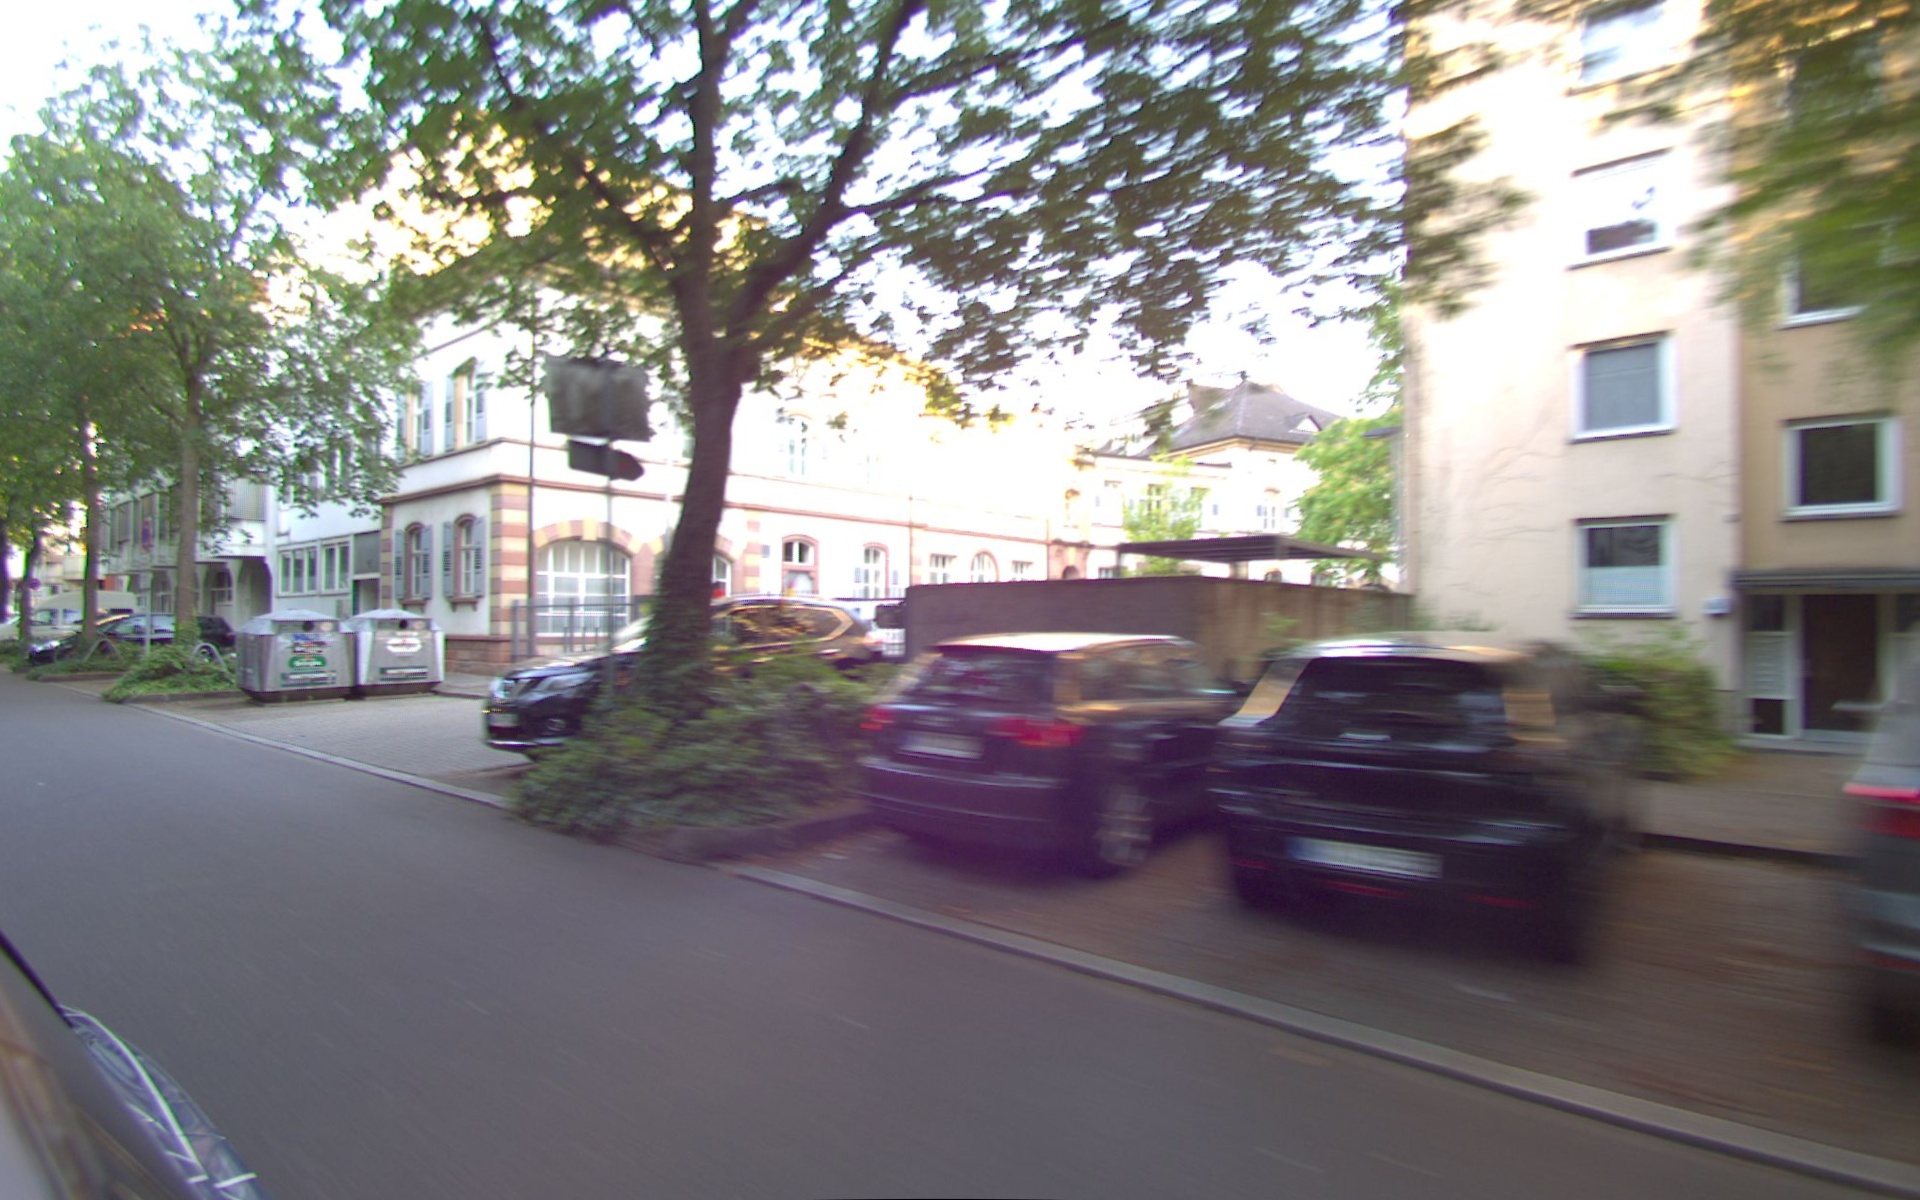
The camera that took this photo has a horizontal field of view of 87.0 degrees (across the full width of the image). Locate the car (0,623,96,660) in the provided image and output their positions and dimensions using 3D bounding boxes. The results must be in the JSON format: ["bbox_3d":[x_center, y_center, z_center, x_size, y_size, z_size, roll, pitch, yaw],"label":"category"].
[{"bbox_3d":[-38.731,1.698,42.014,1.952,1.480,4.124,-1,-2,41],"label":"car"}]

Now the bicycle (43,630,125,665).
[{"bbox_3d":[-22.486,1.208,25.992,0.613,0.837,1.535,-1,-2,44],"label":"bicycle"}]

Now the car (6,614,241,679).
[{"bbox_3d":[-23.286,1.234,28.326,2.159,1.634,4.801,-1,-2,41],"label":"car"}]

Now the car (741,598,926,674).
[{"bbox_3d":[-3.287,0.887,25.808,4.672,1.771,1.978,-1,-2,38],"label":"car"}]

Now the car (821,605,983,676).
[{"bbox_3d":[-1.647,1.082,28.056,4.342,1.835,1.879,-1,-2,38],"label":"car"}]

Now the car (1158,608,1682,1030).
[{"bbox_3d":[2.863,0.827,5.748,1.823,1.502,3.948,-1,-2,38],"label":"car"}]

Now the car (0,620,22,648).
[{"bbox_3d":[-54.636,1.854,55.523,1.870,1.537,4.463,-1,-2,40],"label":"car"}]

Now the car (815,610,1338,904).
[{"bbox_3d":[1.072,0.836,7.252,1.920,1.475,3.947,-1,-2,39],"label":"car"}]

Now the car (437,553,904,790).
[{"bbox_3d":[-2.831,0.636,10.790,1.998,1.970,4.460,-1,-2,39],"label":"car"}]

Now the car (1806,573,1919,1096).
[{"bbox_3d":[4.806,0.723,3.924,3.940,1.577,1.931,1,-2,-44],"label":"car"}]

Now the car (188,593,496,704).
[{"bbox_3d":[-11.243,0.828,18.699,1.998,1.785,4.460,-1,-2,39],"label":"car"}]

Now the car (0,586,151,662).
[{"bbox_3d":[-32.596,0.869,36.548,2.119,2.592,4.952,-2,-2,40],"label":"car"}]
